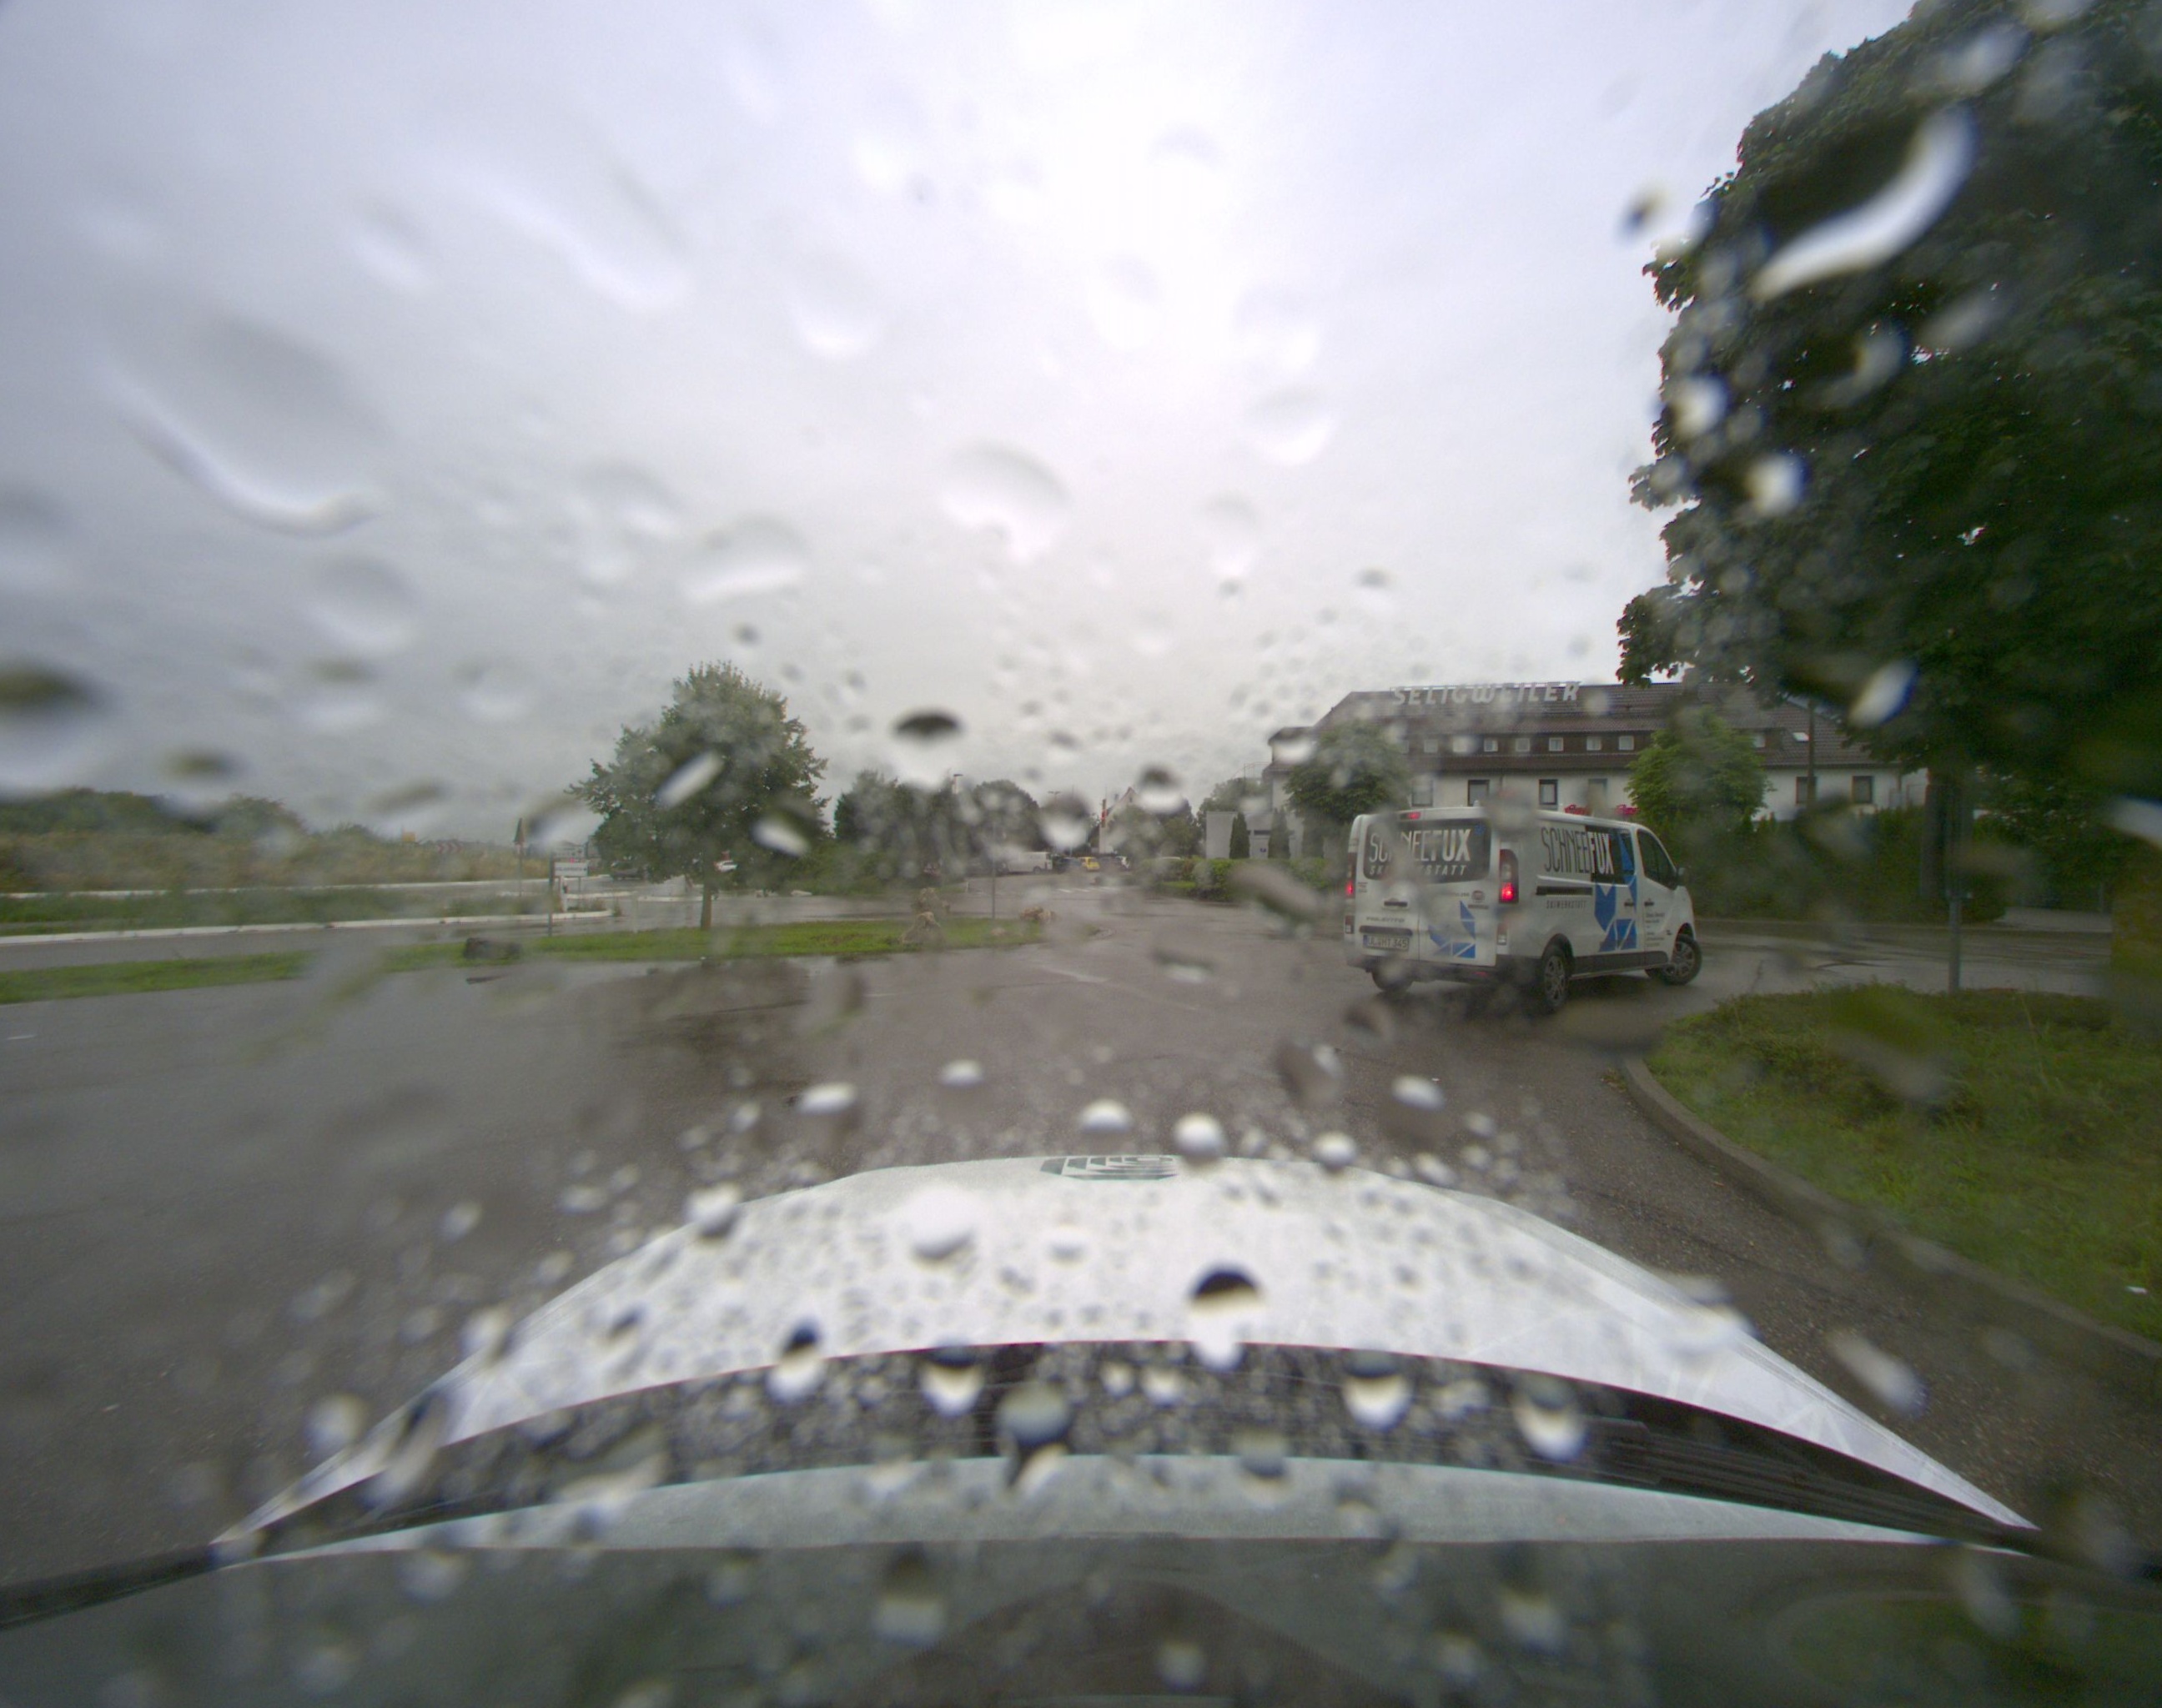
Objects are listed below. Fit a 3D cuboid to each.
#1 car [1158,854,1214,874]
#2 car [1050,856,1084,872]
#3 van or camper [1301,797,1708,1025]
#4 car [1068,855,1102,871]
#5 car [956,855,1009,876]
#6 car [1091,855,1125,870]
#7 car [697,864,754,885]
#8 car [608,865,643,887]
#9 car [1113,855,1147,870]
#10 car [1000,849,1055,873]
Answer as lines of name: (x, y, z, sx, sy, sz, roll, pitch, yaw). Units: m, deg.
car: (8.291, 0.810, 64.182, 4.147, 1.497, 1.724, -1, 0, 12)
car: (-1.334, 0.943, 78.185, 1.562, 1.458, 3.642, -1, 0, -33)
van or camper: (5.074, 0.518, 9.405, 5.221, 1.945, 2.170, 1, 0, -38)
car: (0.360, 0.896, 80.317, 1.592, 1.458, 3.642, -1, 0, -33)
car: (-7.440, 0.850, 61.580, 3.706, 1.551, 1.456, -1, 0, 12)
car: (2.644, 0.856, 81.459, 1.592, 1.458, 3.642, -1, 0, -33)
car: (-31.965, 1.847, 73.251, 1.727, 1.758, 4.392, -2, -1, 44)
car: (-30.063, 1.420, 53.822, 1.697, 1.326, 4.010, -1, 0, -25)
car: (4.943, 0.826, 82.790, 1.592, 1.458, 3.642, -1, 0, -33)
car: (-4.648, 0.594, 71.266, 4.489, 2.033, 1.651, -1, 0, 12)
